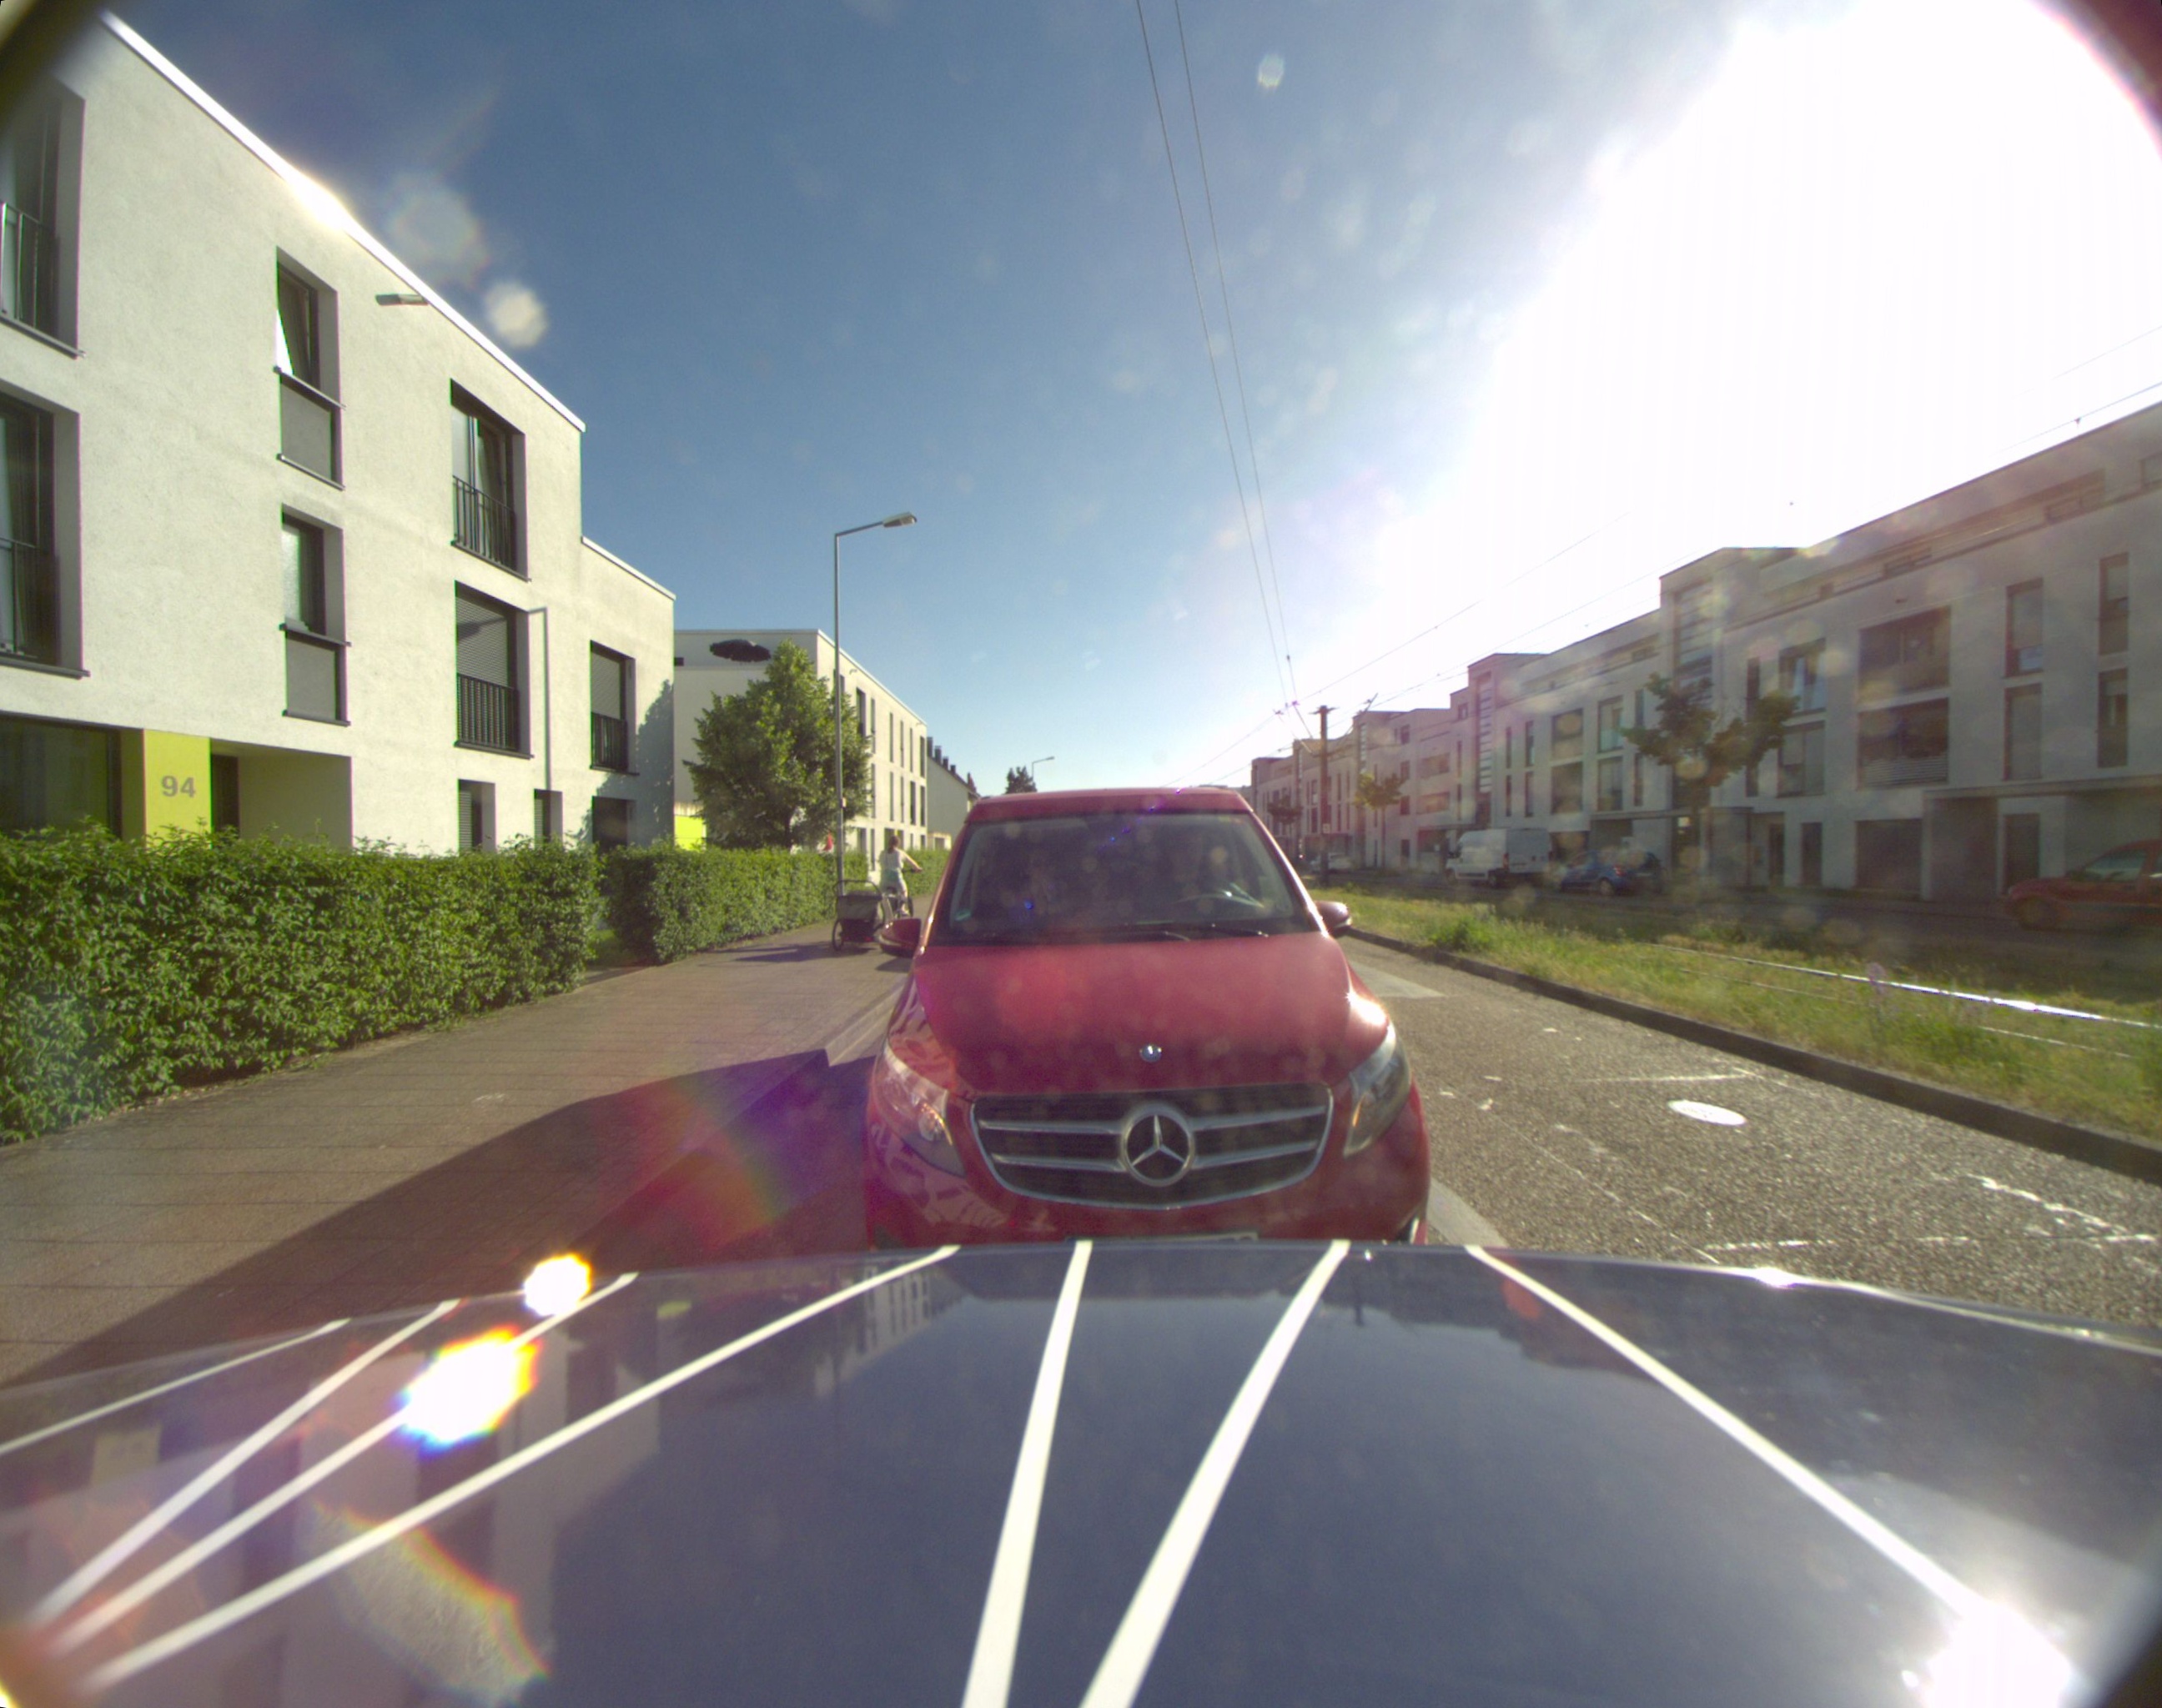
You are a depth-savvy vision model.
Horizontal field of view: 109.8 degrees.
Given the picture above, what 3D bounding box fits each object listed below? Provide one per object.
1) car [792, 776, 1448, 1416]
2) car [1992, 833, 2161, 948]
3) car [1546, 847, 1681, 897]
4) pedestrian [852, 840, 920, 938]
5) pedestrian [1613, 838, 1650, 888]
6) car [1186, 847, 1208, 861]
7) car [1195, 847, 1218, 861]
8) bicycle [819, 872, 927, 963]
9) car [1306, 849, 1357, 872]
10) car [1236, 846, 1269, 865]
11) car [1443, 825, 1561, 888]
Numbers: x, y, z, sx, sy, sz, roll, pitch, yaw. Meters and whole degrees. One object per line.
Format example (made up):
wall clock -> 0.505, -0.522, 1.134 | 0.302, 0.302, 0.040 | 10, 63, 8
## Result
car -> 0.149, 0.702, 4.501 | 1.874, 1.843, 4.506 | -2, 1, 1
car -> 18.613, 0.580, 12.771 | 1.998, 1.817, 3.895 | -2, 1, 3
car -> 18.372, 0.578, 26.461 | 1.999, 1.536, 3.835 | -2, 1, 0
pedestrian -> -3.250, 0.568, 12.716 | 0.913, 1.585, 0.854 | 0, 1, 0
pedestrian -> 20.656, 0.319, 28.519 | 0.776, 1.812, 0.785 | -2, 1, 1
car -> 15.180, -0.057, 99.619 | 1.923, 1.671, 4.282 | -2, 1, -4
car -> 15.466, -0.034, 93.868 | 1.923, 1.671, 4.282 | -2, 1, -4
bicycle -> -3.242, 0.934, 12.267 | 0.931, 1.166, 3.124 | 0, 1, -1
car -> 17.628, 0.417, 53.702 | 1.923, 1.497, 4.282 | -2, 1, -4
car -> 16.712, 0.136, 74.316 | 1.923, 1.671, 4.282 | -2, 1, -4
car -> 18.164, 0.076, 33.133 | 2.225, 2.458, 5.195 | -2, 1, 0
